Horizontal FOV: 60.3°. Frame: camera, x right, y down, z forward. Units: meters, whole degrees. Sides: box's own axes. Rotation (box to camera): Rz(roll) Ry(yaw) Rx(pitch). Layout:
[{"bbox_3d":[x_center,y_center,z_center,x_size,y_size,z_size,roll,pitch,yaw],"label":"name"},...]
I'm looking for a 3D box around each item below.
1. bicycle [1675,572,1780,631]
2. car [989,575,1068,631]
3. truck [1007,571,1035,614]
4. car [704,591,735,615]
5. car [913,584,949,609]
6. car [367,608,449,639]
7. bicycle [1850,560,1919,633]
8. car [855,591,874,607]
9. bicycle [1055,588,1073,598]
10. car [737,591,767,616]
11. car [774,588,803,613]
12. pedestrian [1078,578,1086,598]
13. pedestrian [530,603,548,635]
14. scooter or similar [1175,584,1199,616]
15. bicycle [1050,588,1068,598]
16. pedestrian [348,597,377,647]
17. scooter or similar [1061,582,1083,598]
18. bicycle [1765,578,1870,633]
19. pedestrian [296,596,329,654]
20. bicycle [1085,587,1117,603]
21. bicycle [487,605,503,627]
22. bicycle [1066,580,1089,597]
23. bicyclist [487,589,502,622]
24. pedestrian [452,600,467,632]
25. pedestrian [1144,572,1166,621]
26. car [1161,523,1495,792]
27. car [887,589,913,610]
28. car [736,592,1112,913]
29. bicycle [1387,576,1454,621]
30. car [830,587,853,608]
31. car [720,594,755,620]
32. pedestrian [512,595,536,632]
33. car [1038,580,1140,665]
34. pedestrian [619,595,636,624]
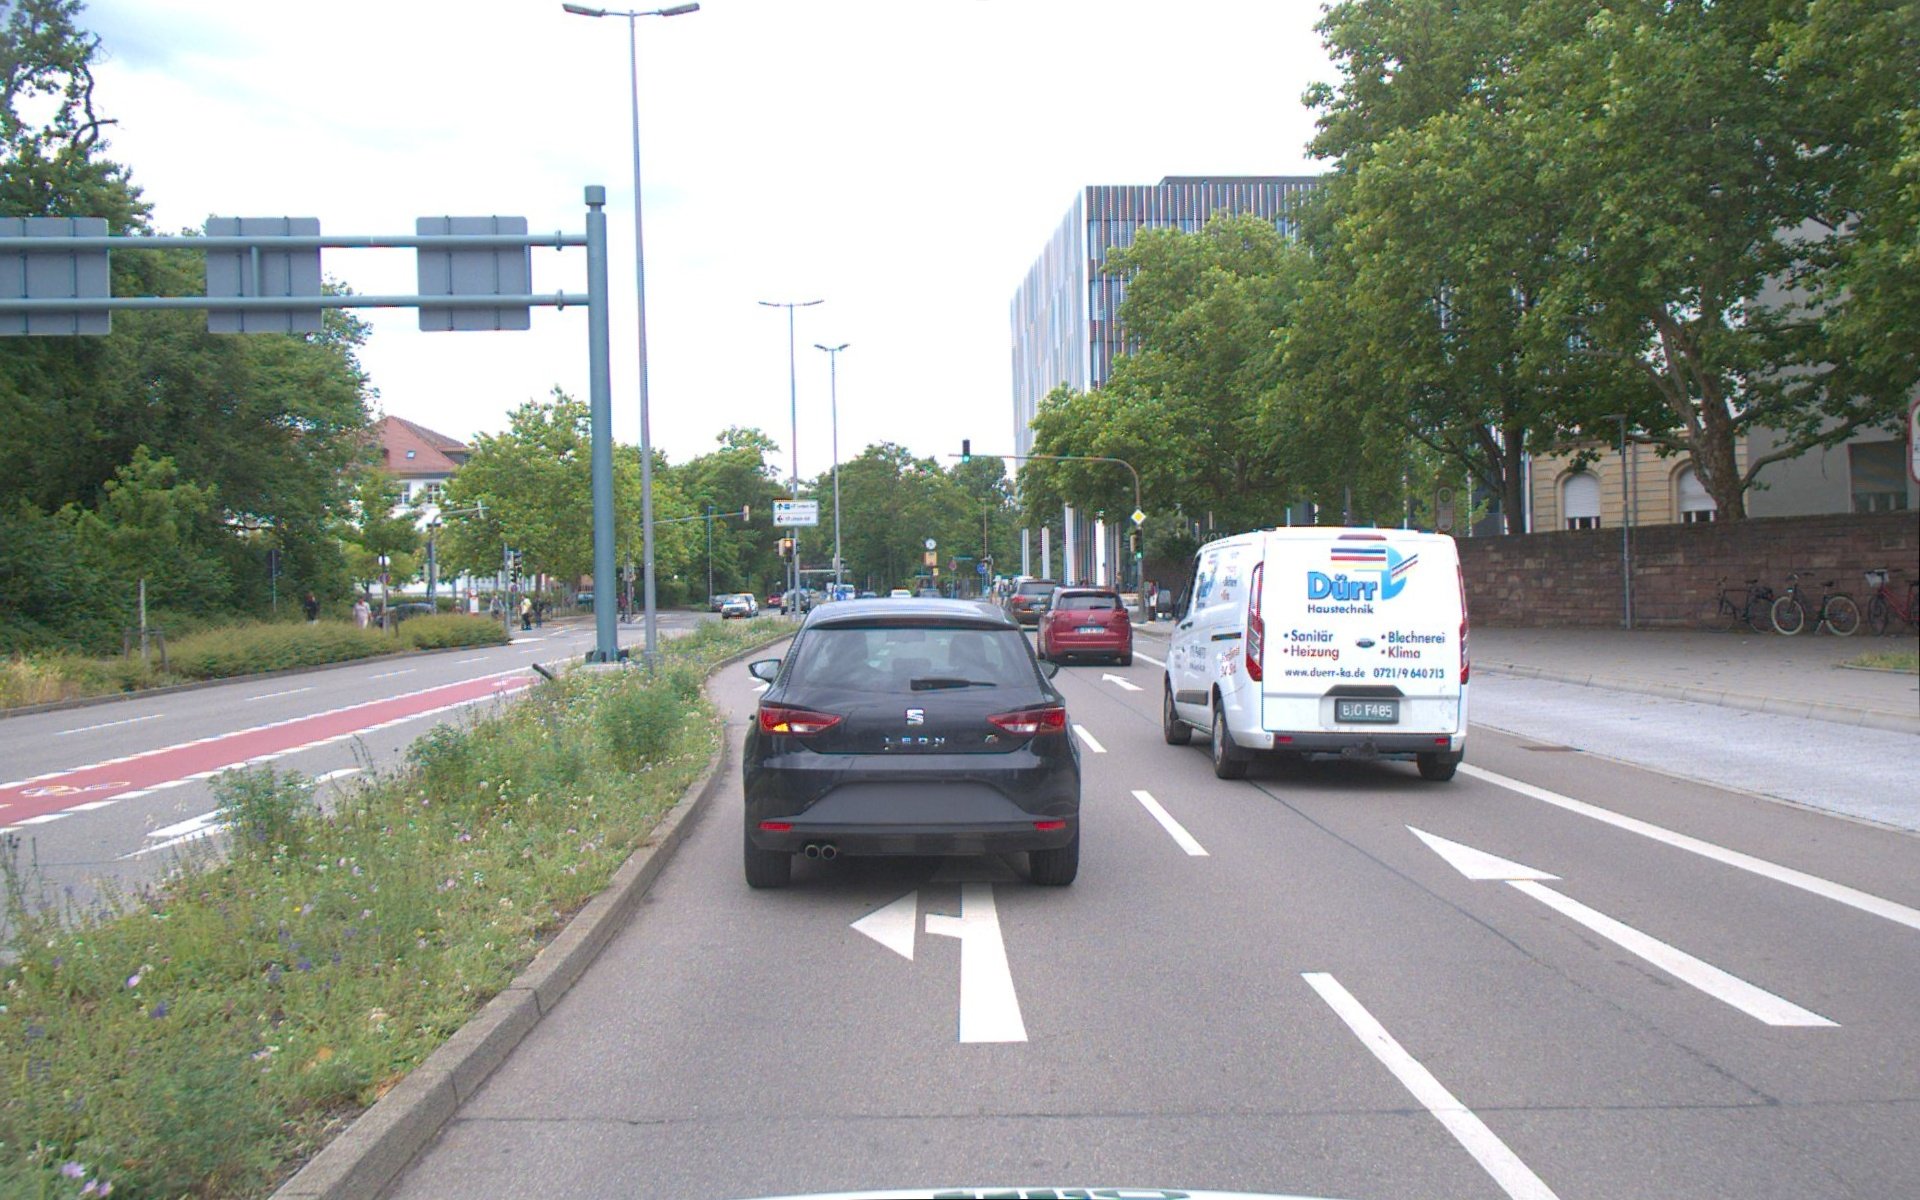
[{"bbox_3d":[15.193,0.037,32.795,0.711,1.119,1.774,-3,1,-30],"label":"bicycle"},{"bbox_3d":[2.231,0.077,55.175,1.879,1.693,4.107,-3,1,-8],"label":"car"},{"bbox_3d":[3.450,-0.444,93.939,1.291,2.282,3.401,-3,1,-1],"label":"truck"},{"bbox_3d":[-19.513,0.249,134.249,1.868,1.746,3.999,-3,1,-1],"label":"car"},{"bbox_3d":[-1.769,-0.207,99.921,1.862,1.377,3.879,-3,1,-4],"label":"car"},{"bbox_3d":[-27.769,1.178,83.276,3.586,1.244,1.562,-1,8,-7],"label":"car"},{"bbox_3d":[16.521,-0.061,29.051,0.491,1.242,1.618,-3,1,-18],"label":"bicycle"},{"bbox_3d":[-8.238,-0.087,142.196,1.476,1.214,3.160,-3,1,-4],"label":"car"},{"bbox_3d":[8.330,-0.550,132.684,1.346,0.717,0.416,-3,1,2],"label":"bicycle"},{"bbox_3d":[-13.384,0.208,106.571,1.672,1.456,4.222,-3,1,-5],"label":"car"},{"bbox_3d":[-11.062,0.061,106.598,1.730,1.485,4.785,-4,0,-6],"label":"car"},{"bbox_3d":[8.622,-0.823,117.198,0.462,1.385,0.446,-3,1,9],"label":"pedestrian"},{"bbox_3d":[-21.890,0.991,86.032,0.778,1.585,0.695,-1,-3,-21],"label":"pedestrian"},{"bbox_3d":[8.919,-0.005,64.862,0.423,1.199,1.703,-3,1,23],"label":"scooter or similar"},{"bbox_3d":[8.040,-0.542,134.476,1.345,0.717,0.489,-3,1,7],"label":"bicycle"},{"bbox_3d":[-20.637,0.751,57.152,0.686,1.664,0.671,-3,1,-1],"label":"pedestrian"},{"bbox_3d":[8.575,-0.753,126.804,1.656,1.126,0.493,-4,1,-33],"label":"scooter or similar"},{"bbox_3d":[15.940,0.093,30.772,0.643,0.967,1.761,-3,1,-18],"label":"bicycle"},{"bbox_3d":[-20.159,0.780,51.510,0.607,1.759,0.818,-3,1,-1],"label":"pedestrian"},{"bbox_3d":[8.934,-0.299,104.680,1.860,0.914,0.693,-3,1,-22],"label":"bicycle"},{"bbox_3d":[-23.937,0.819,85.103,0.656,1.081,1.610,0,-1,-20],"label":"bicycle"},{"bbox_3d":[8.982,-0.883,126.233,1.758,1.232,0.563,-4,1,-35],"label":"bicycle"},{"bbox_3d":[-23.954,0.282,85.126,0.656,1.664,0.956,0,-1,-20],"label":"bicyclist"},{"bbox_3d":[-25.225,0.819,83.309,0.563,1.553,0.842,-2,-4,-25],"label":"pedestrian"},{"bbox_3d":[7.161,-0.134,60.681,0.453,1.769,0.548,-3,1,-40],"label":"pedestrian"},{"bbox_3d":[3.010,0.401,14.496,1.926,2.006,4.343,0,1,0],"label":"car"},{"bbox_3d":[-4.156,-0.061,114.094,1.584,1.377,3.997,-1,1,-4],"label":"car"},{"bbox_3d":[-0.207,0.691,9.462,1.717,1.457,3.768,0,0,-2],"label":"car"},{"bbox_3d":[12.418,-0.041,44.663,0.834,1.147,1.915,-4,1,-16],"label":"bicycle"},{"bbox_3d":[-9.207,-0.195,128.130,1.663,1.530,4.005,-3,1,-5],"label":"car"},{"bbox_3d":[-13.390,0.382,99.649,1.575,1.405,3.808,-3,1,-1],"label":"car"},{"bbox_3d":[-22.098,0.682,83.827,0.835,1.770,0.819,0,-5,-40],"label":"pedestrian"},{"bbox_3d":[2.648,0.424,34.674,1.909,1.652,3.750,0,1,1],"label":"car"},{"bbox_3d":[-18.871,0.530,93.847,0.858,1.613,0.542,-3,1,-8],"label":"pedestrian"}]
